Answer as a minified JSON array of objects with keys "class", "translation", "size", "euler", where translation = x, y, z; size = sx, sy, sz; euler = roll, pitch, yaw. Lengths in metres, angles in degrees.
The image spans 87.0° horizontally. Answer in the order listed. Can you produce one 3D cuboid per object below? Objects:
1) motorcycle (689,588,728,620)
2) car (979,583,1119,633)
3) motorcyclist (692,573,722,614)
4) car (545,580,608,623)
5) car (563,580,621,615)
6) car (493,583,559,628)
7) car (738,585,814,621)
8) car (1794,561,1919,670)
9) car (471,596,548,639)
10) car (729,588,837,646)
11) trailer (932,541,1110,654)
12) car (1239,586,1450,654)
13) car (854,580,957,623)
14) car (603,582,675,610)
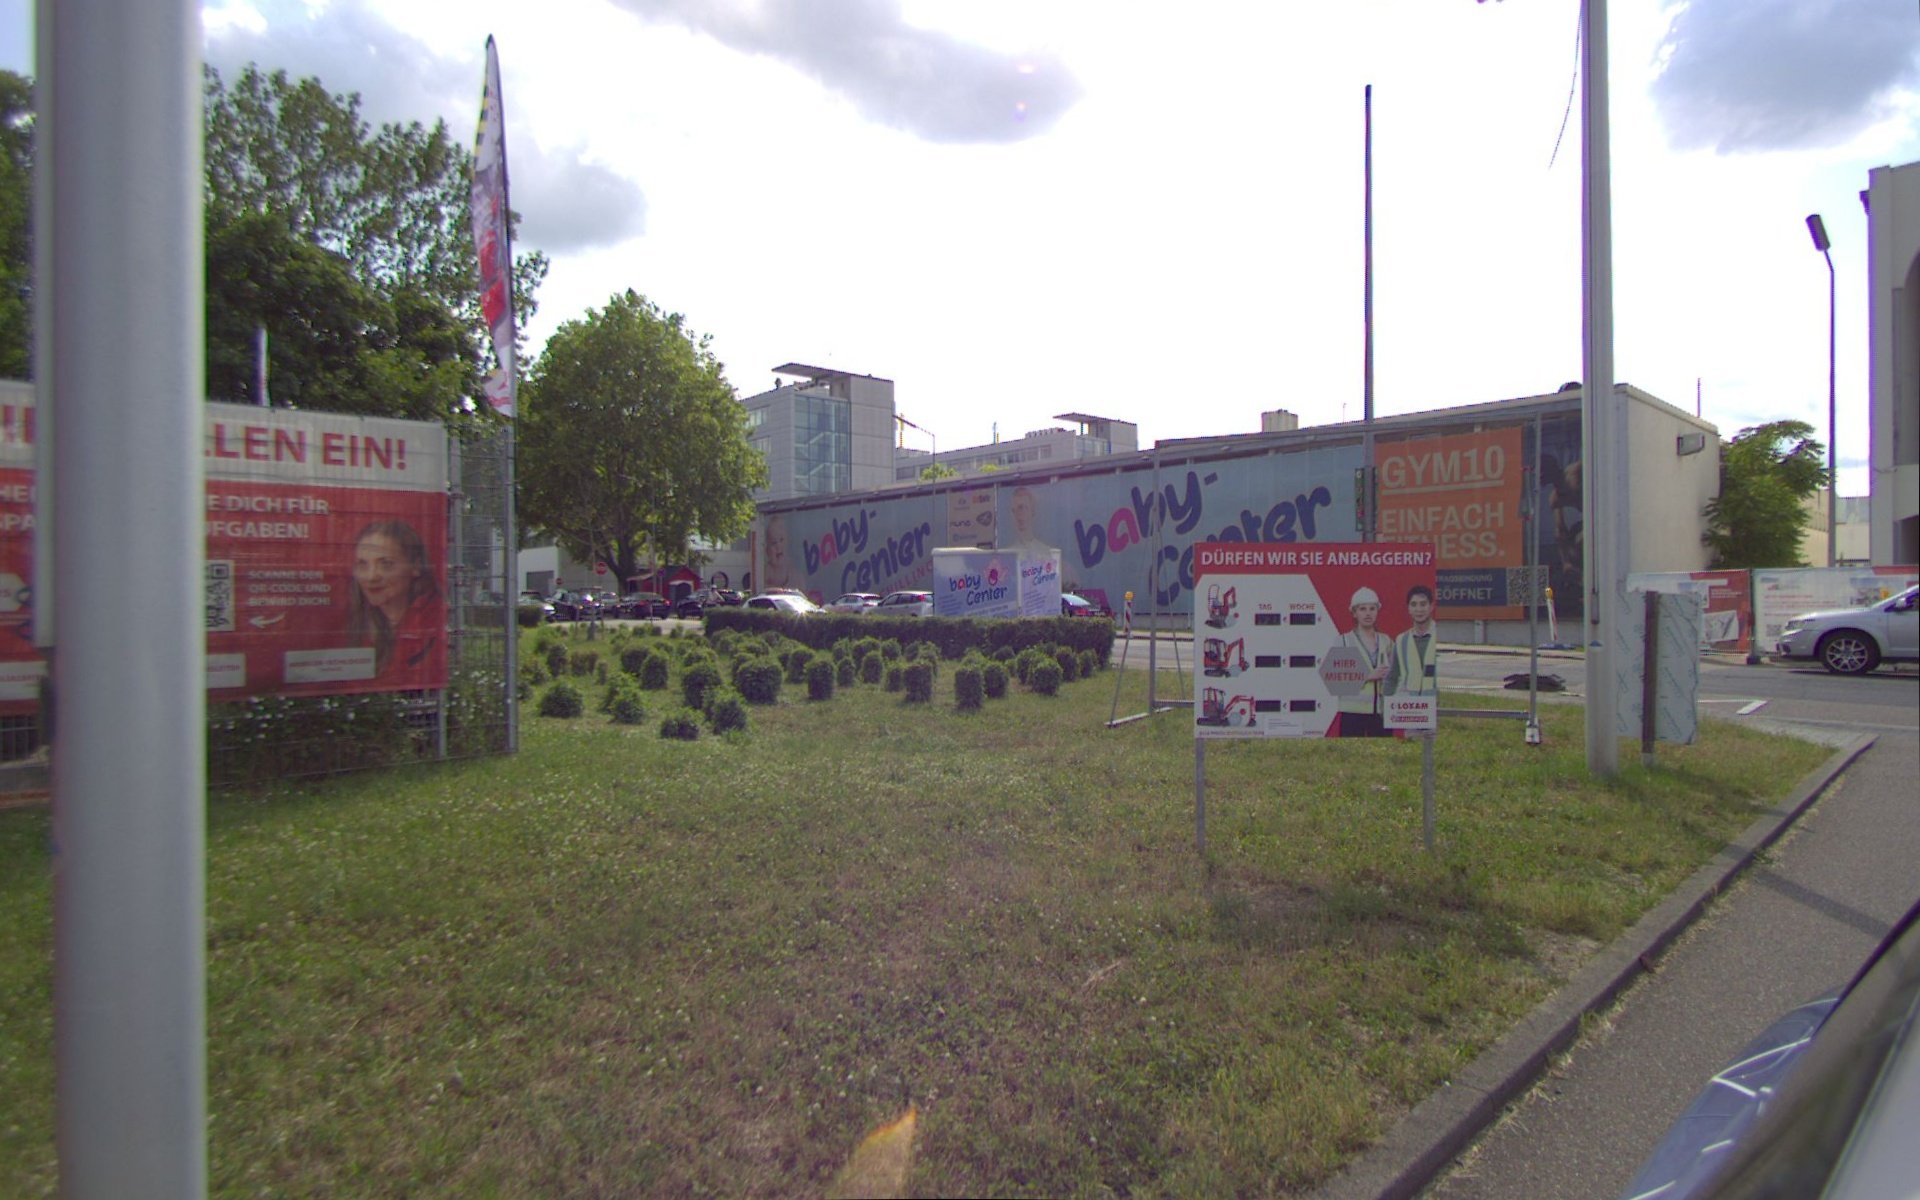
[{"class":"motorcycle","translation":[-10.282,0.157,41.370],"size":[0.634,1.261,1.955],"euler":[-5,3,-42]},{"class":"car","translation":[2.795,0.213,32.668],"size":[1.821,1.518,4.549],"euler":[-1,1,-41]},{"class":"motorcyclist","translation":[-10.341,-0.257,41.392],"size":[0.761,1.617,0.902],"euler":[-5,4,-44]},{"class":"car","translation":[-20.149,0.034,53.032],"size":[1.964,2.037,3.998],"euler":[-5,4,-37]},{"class":"car","translation":[-21.994,-0.164,60.400],"size":[1.966,2.039,3.993],"euler":[-1,1,-41]},{"class":"car","translation":[-21.696,0.223,50.502],"size":[1.965,2.037,3.996],"euler":[-5,4,-39]},{"class":"car","translation":[-8.055,0.095,44.167],"size":[3.495,1.522,1.574],"euler":[0,1,45]},{"class":"car","translation":[16.507,0.270,16.127],"size":[1.838,1.721,4.826],"euler":[1,0,-45]},{"class":"car","translation":[-18.249,0.701,40.949],"size":[1.690,1.558,3.680],"euler":[-6,3,-42]},{"class":"car","translation":[-5.735,0.494,32.569],"size":[1.690,1.558,3.681],"euler":[-5,5,-42]},{"class":"trailer","translation":[1.392,-0.128,24.494],"size":[1.740,2.447,4.269],"euler":[-4,4,-42]},{"class":"car","translation":[9.309,0.432,24.829],"size":[1.740,1.499,4.611],"euler":[1,0,-40]},{"class":"car","translation":[-2.082,0.040,37.904],"size":[1.763,1.509,3.941],"euler":[-1,1,-42]},{"class":"car","translation":[-17.413,-0.221,54.821],"size":[1.979,1.422,4.780],"euler":[-2,1,-41]}]
